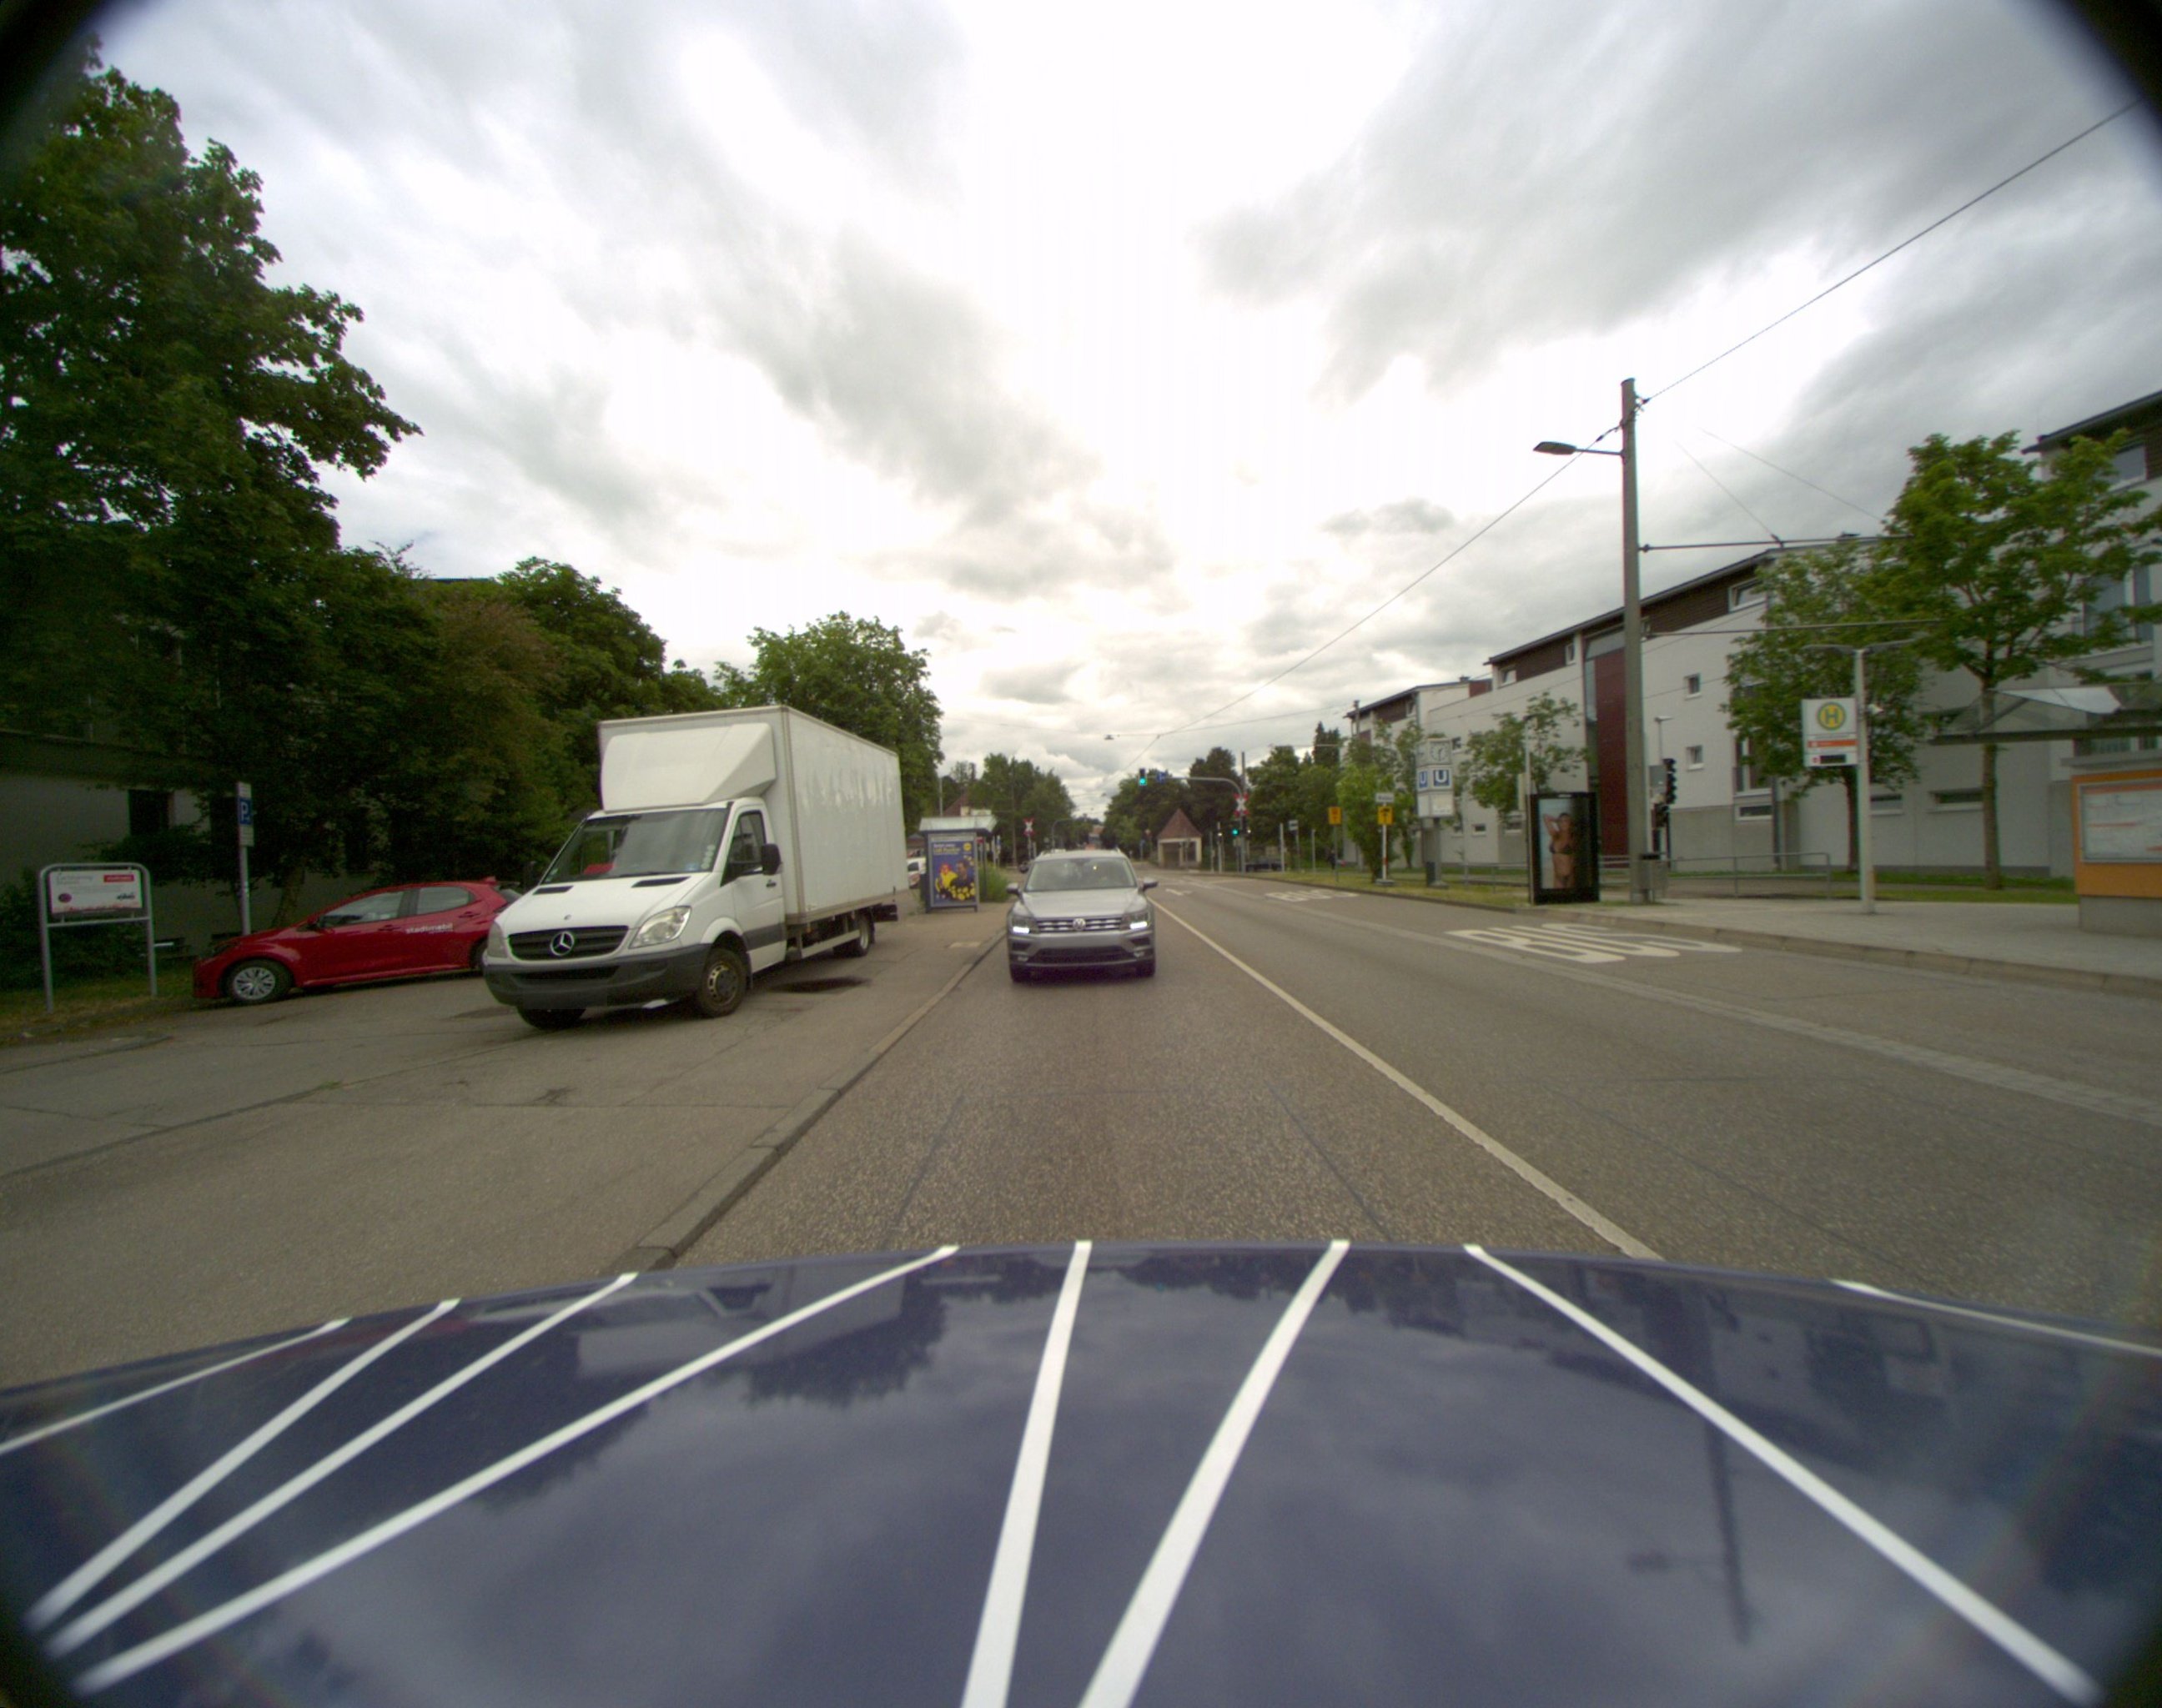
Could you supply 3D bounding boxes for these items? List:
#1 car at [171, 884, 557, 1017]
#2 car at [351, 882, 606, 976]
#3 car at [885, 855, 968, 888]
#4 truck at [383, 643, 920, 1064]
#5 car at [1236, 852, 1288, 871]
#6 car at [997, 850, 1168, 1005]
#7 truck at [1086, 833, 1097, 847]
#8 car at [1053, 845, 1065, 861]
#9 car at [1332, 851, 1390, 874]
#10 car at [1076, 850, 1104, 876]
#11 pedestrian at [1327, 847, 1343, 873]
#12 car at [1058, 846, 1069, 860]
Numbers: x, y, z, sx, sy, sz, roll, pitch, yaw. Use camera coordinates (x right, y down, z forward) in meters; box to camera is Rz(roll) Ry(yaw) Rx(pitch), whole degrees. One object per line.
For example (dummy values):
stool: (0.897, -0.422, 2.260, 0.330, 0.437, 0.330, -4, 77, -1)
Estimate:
car: (-10.116, 1.282, 11.135, 3.734, 1.437, 1.605, -3, 0, -26)
car: (-12.097, 1.440, 15.625, 3.809, 1.465, 1.794, -3, 1, -30)
car: (-9.168, 1.020, 45.445, 1.846, 1.738, 4.704, -2, 0, 38)
truck: (-4.503, -0.007, 10.397, 2.579, 3.504, 7.810, -2, 0, 2)
car: (17.532, 0.712, 73.680, 4.488, 1.660, 1.964, 1, 0, -7)
car: (-0.108, 0.820, 10.888, 1.835, 1.610, 4.486, -4, 1, -3)
truck: (2.833, -3.812, 208.682, 2.776, 3.697, 8.466, 0, 1, -1)
car: (-3.855, -0.190, 132.118, 2.095, 2.589, 6.679, -1, 1, -2)
car: (25.538, 0.782, 69.444, 4.469, 2.002, 1.999, 2, 0, -6)
car: (0.646, 0.637, 56.239, 1.811, 1.736, 3.999, -2, 0, -2)
pedestrian: (16.184, 0.399, 48.418, 0.677, 1.634, 0.819, -1, -1, -5)
car: (-3.474, -0.189, 150.270, 2.046, 2.588, 5.966, -1, 1, 0)
